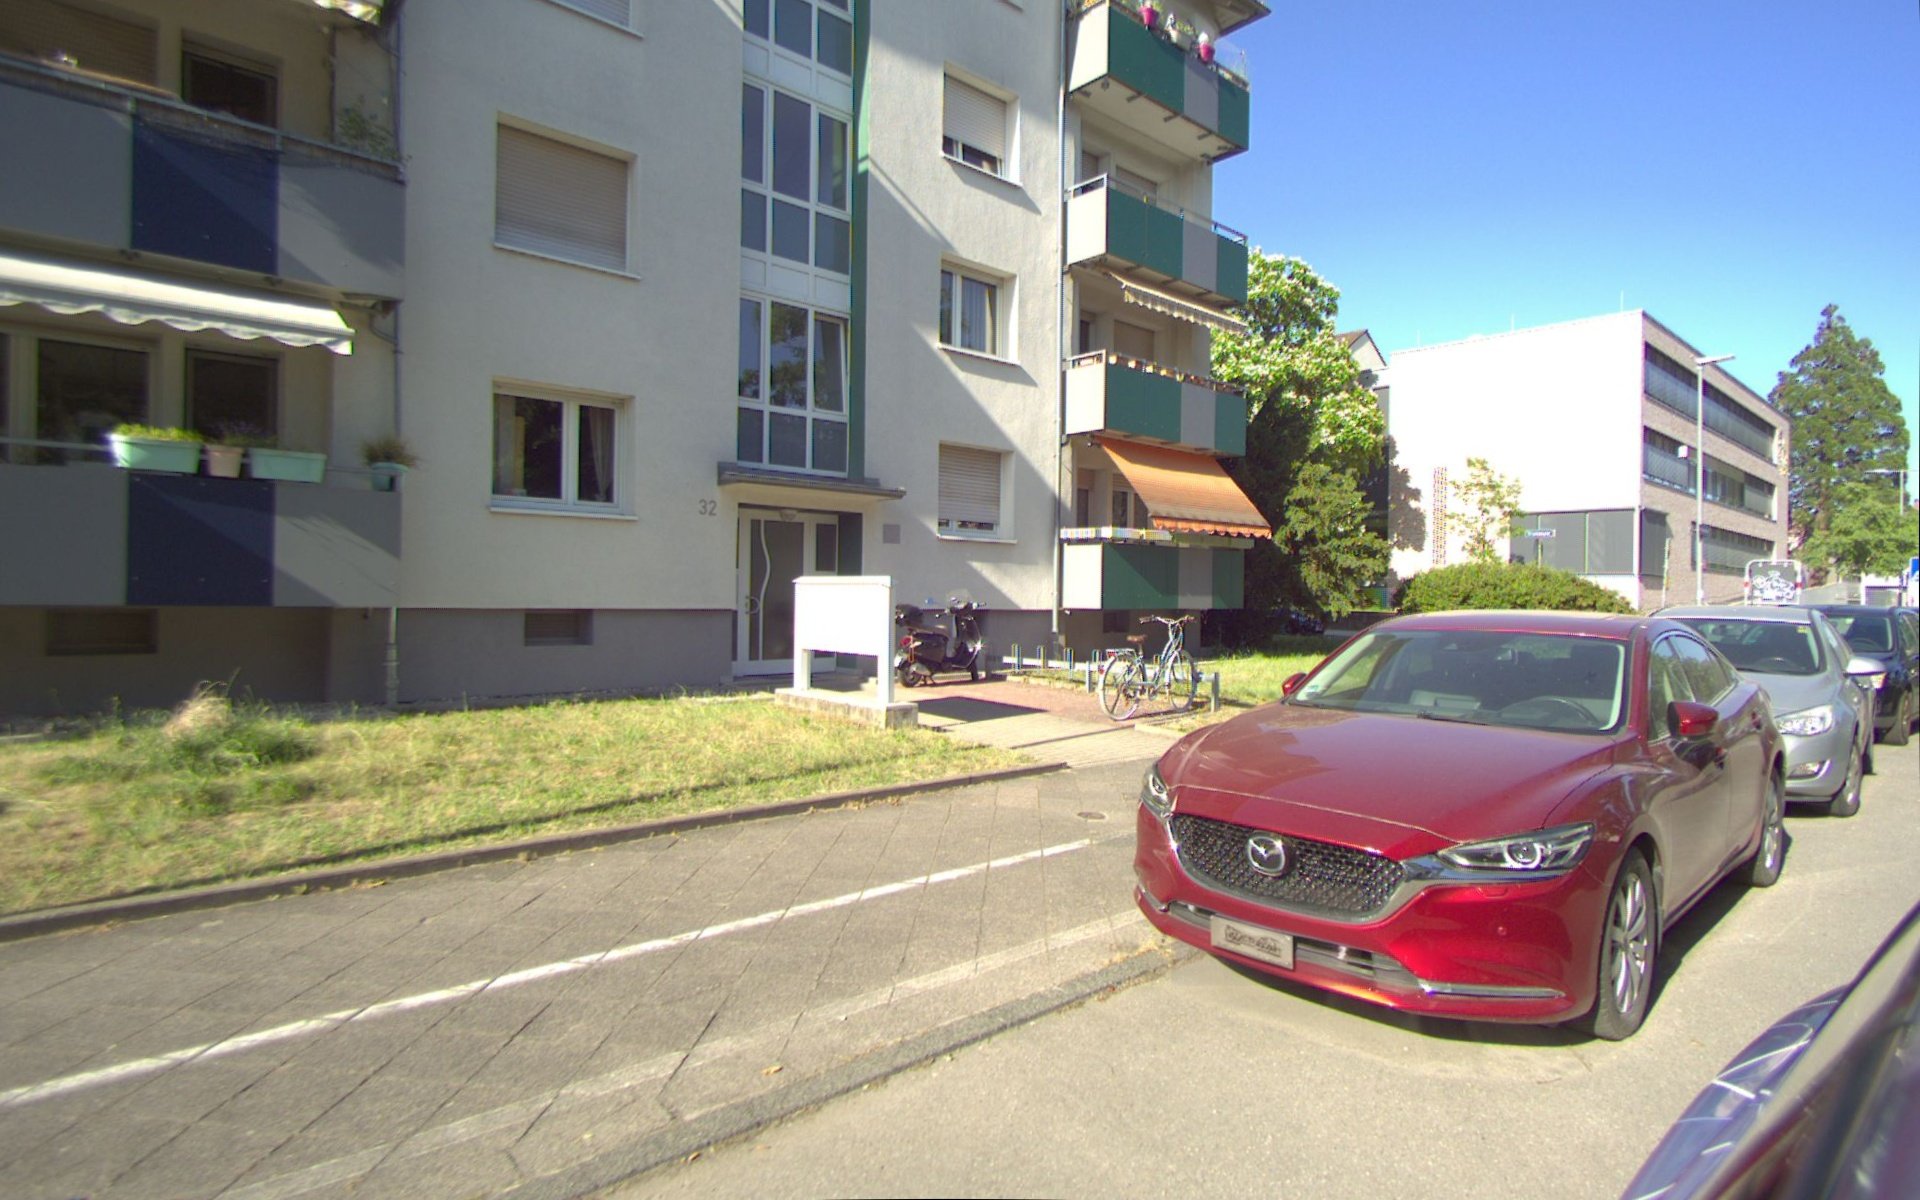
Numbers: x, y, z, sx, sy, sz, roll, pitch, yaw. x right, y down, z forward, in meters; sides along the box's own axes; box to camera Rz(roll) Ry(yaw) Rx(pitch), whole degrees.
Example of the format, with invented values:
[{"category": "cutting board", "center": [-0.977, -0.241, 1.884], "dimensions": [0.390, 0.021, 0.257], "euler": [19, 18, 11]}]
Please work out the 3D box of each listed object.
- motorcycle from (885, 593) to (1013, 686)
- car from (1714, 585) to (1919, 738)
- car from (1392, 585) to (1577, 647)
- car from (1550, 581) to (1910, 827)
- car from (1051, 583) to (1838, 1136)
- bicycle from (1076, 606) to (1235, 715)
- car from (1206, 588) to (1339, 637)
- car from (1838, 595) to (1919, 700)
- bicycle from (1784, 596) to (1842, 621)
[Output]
[{"category": "motorcycle", "center": [-0.114, 0.490, 13.675], "dimensions": [0.582, 1.166, 2.008], "euler": [0, 1, 39]}, {"category": "car", "center": [10.849, 0.607, 12.281], "dimensions": [4.477, 1.549, 1.773], "euler": [0, 0, -40]}, {"category": "car", "center": [15.134, 0.402, 29.389], "dimensions": [1.882, 1.644, 4.412], "euler": [0, 1, -43]}, {"category": "car", "center": [6.734, 0.640, 8.640], "dimensions": [4.420, 1.553, 1.874], "euler": [0, 1, -45]}, {"category": "car", "center": [2.824, 0.686, 5.101], "dimensions": [4.978, 1.491, 1.846], "euler": [0, 1, -42]}, {"category": "bicycle", "center": [2.189, 0.621, 11.181], "dimensions": [1.863, 1.091, 0.721], "euler": [0, 0, -40]}, {"category": "car", "center": [10.568, 0.381, 34.399], "dimensions": [1.792, 1.530, 3.975], "euler": [0, 1, -42]}, {"category": "car", "center": [15.027, 0.671, 15.668], "dimensions": [3.727, 1.493, 1.661], "euler": [0, -1, -41]}, {"category": "bicycle", "center": [42.233, 0.428, 50.127], "dimensions": [0.867, 1.076, 2.029], "euler": [0, 4, -42]}]
